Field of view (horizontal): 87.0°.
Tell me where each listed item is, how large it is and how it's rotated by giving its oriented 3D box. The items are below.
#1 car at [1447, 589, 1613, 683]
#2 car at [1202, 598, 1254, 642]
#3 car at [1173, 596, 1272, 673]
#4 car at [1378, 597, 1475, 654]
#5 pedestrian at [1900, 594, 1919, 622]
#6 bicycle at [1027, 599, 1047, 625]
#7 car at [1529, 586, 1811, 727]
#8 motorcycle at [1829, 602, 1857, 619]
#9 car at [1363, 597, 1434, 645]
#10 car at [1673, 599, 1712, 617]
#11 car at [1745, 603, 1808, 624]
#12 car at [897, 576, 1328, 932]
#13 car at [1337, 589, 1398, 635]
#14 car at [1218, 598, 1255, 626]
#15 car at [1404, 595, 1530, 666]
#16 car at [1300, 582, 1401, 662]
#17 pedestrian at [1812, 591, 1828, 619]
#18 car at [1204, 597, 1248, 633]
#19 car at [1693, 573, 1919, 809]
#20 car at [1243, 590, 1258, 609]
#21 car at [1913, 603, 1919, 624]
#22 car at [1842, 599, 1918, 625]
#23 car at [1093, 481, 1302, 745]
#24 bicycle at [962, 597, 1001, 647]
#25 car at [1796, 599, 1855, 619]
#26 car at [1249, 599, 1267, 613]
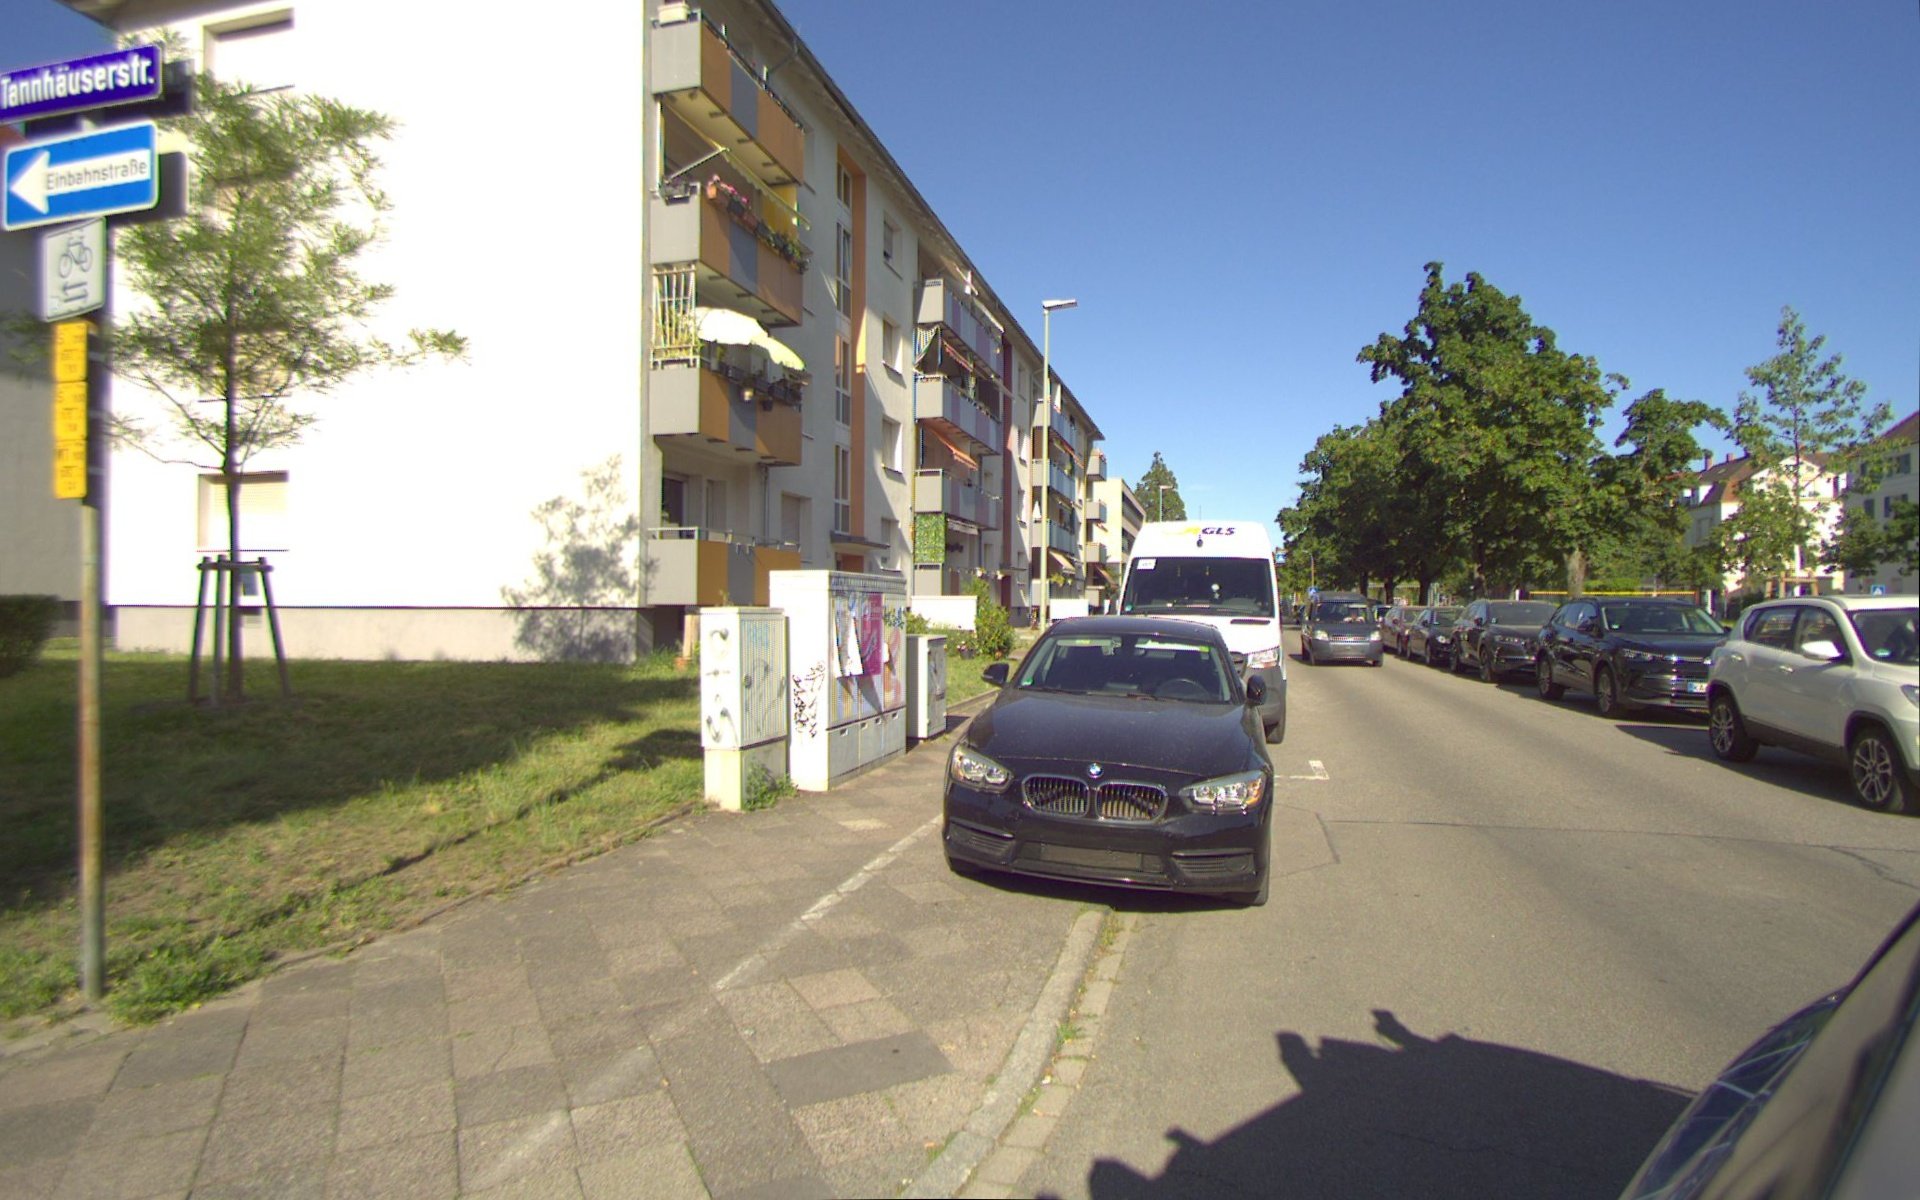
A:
[{"bbox_3d":[11.406,0.636,20.624,1.800,1.630,4.716,2,0,15],"label":"car"},{"bbox_3d":[9.653,0.668,36.607,1.680,1.453,4.452,2,0,14],"label":"car"},{"bbox_3d":[5.590,0.689,21.734,1.827,1.484,4.183,-1,0,14],"label":"car"},{"bbox_3d":[13.921,0.705,30.462,1.735,1.511,4.648,2,0,14],"label":"car"},{"bbox_3d":[67.130,0.558,70.990,1.322,1.988,1.160,0,0,10],"label":"pedestrian"},{"bbox_3d":[3.343,0.501,43.873,0.517,1.084,2.001,2,1,14],"label":"bicycle"},{"bbox_3d":[9.981,0.668,14.728,1.823,1.659,4.692,2,1,15],"label":"car"},{"bbox_3d":[71.759,0.825,82.236,0.806,1.322,2.136,0,0,14],"label":"motorcycle"},{"bbox_3d":[14.989,0.690,34.757,1.568,1.511,3.669,2,0,14],"label":"car"},{"bbox_3d":[73.716,0.810,101.893,1.929,1.816,3.979,0,0,17],"label":"car"},{"bbox_3d":[64.431,1.056,79.939,1.971,1.503,4.936,1,0,14],"label":"car"},{"bbox_3d":[1.195,0.658,6.826,1.936,1.500,4.478,2,0,14],"label":"car"},{"bbox_3d":[17.314,0.461,43.208,1.844,1.807,4.968,0,1,15],"label":"car"},{"bbox_3d":[15.058,0.620,55.292,1.822,1.491,5.042,0,0,15],"label":"car"},{"bbox_3d":[12.614,0.691,25.485,1.852,1.538,4.450,2,1,14],"label":"car"},{"bbox_3d":[9.579,0.517,25.120,1.876,1.813,4.137,0,0,15],"label":"car"},{"bbox_3d":[52.791,0.290,62.125,0.538,1.706,0.669,0,-1,20],"label":"pedestrian"},{"bbox_3d":[11.753,0.613,44.890,1.726,1.518,3.847,1,0,12],"label":"car"},{"bbox_3d":[8.102,0.664,8.520,1.738,1.668,4.265,2,0,16],"label":"car"},{"bbox_3d":[40.408,-0.101,140.746,2.047,2.631,6.170,0,0,16],"label":"car"},{"bbox_3d":[64.391,0.885,65.828,1.749,1.373,3.982,0,0,15],"label":"car"},{"bbox_3d":[58.500,0.727,64.465,1.768,1.603,4.217,0,0,14],"label":"car"},{"bbox_3d":[3.470,0.101,14.100,2.120,2.747,6.805,2,0,16],"label":"car"},{"bbox_3d":[0.580,0.558,26.387,0.589,1.190,2.005,0,1,14],"label":"bicycle"},{"bbox_3d":[59.554,0.603,69.699,1.631,1.349,3.499,0,0,14],"label":"car"},{"bbox_3d":[29.316,0.555,99.672,1.631,1.349,4.908,0,0,16],"label":"car"}]
